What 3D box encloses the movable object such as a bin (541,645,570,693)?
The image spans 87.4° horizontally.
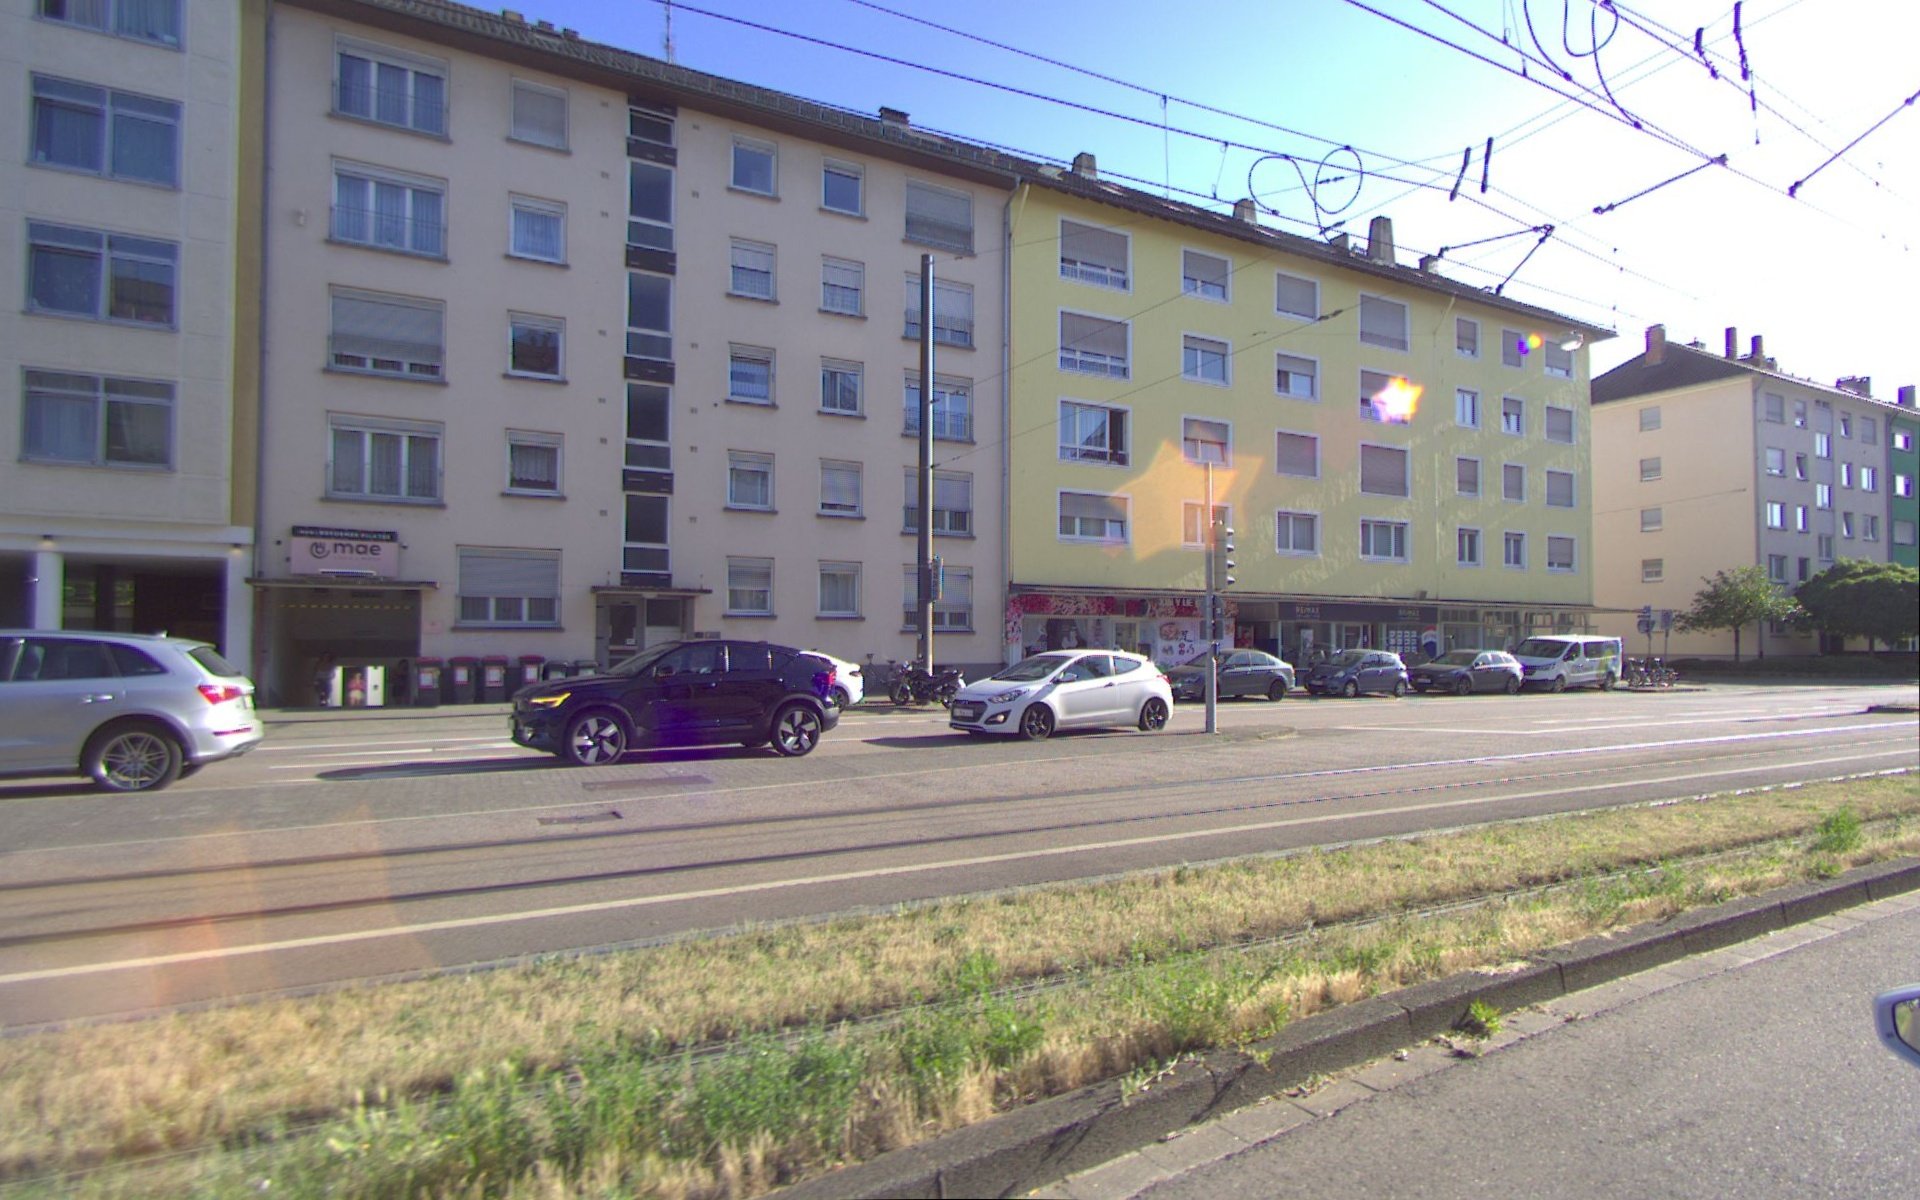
[{"bbox_3d":[-9.473,1.605,23.506,0.539,1.065,0.769,2,0,-28],"label":"movable object such as a bin"}]

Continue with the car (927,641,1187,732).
[{"bbox_3d":[1.736,1.426,17.411,4.370,1.403,1.822,2,-3,-35],"label":"car"}]

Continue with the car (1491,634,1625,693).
[{"bbox_3d":[22.387,2.338,37.524,5.439,1.975,1.983,2,0,-32],"label":"car"}]

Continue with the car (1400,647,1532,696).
[{"bbox_3d":[17.458,2.436,34.604,4.540,1.494,1.775,2,0,-29],"label":"car"}]

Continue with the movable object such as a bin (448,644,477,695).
[{"bbox_3d":[-11.158,1.545,22.530,0.539,1.065,0.769,2,0,-28],"label":"movable object such as a bin"}]

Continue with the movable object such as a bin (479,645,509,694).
[{"bbox_3d":[-10.602,1.574,22.847,0.539,1.065,0.769,2,0,-28],"label":"movable object such as a bin"}]

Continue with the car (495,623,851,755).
[{"bbox_3d":[-3.840,1.141,13.756,4.369,1.548,1.772,2,-3,-34],"label":"car"}]

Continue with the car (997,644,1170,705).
[{"bbox_3d":[3.293,1.938,26.561,4.364,1.403,1.774,2,0,-31],"label":"car"}]

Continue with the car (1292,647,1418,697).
[{"bbox_3d":[12.654,2.279,32.156,3.722,1.403,1.775,2,0,-29],"label":"car"}]

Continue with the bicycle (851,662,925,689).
[{"bbox_3d":[-1.982,2.084,27.787,1.971,0.702,0.599,2,0,-29],"label":"bicycle"}]

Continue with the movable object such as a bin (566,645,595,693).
[{"bbox_3d":[-8.986,1.622,23.780,0.539,1.065,0.769,2,0,-28],"label":"movable object such as a bin"}]

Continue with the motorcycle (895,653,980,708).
[{"bbox_3d":[-0.563,1.926,24.350,2.073,1.154,0.486,2,0,29],"label":"motorcycle"}]

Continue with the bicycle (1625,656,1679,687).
[{"bbox_3d":[27.991,2.889,40.666,0.385,1.120,1.812,2,0,-27],"label":"bicycle"}]

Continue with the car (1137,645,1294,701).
[{"bbox_3d":[7.412,2.081,29.053,4.361,1.439,1.775,2,0,-29],"label":"car"}]

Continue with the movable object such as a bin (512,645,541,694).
[{"bbox_3d":[-10.014,1.586,23.188,0.539,1.065,0.769,2,0,-28],"label":"movable object such as a bin"}]

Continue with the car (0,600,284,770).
[{"bbox_3d":[-9.699,0.833,10.152,4.552,1.602,1.776,2,-3,-29],"label":"car"}]

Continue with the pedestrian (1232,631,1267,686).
[{"bbox_3d":[10.108,2.041,35.046,0.912,1.885,0.668,2,0,-29],"label":"pedestrian"}]

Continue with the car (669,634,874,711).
[{"bbox_3d":[-4.194,1.585,22.468,4.148,1.506,1.751,2,0,-29],"label":"car"}]

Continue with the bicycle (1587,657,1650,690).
[{"bbox_3d":[26.024,2.884,39.716,0.466,1.120,2.089,2,0,-27],"label":"bicycle"}]

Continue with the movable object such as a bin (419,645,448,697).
[{"bbox_3d":[-11.655,1.563,22.247,0.539,1.065,0.769,2,0,-28],"label":"movable object such as a bin"}]

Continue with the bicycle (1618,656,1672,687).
[{"bbox_3d":[27.582,2.873,40.453,0.385,1.120,1.812,2,0,-27],"label":"bicycle"}]
